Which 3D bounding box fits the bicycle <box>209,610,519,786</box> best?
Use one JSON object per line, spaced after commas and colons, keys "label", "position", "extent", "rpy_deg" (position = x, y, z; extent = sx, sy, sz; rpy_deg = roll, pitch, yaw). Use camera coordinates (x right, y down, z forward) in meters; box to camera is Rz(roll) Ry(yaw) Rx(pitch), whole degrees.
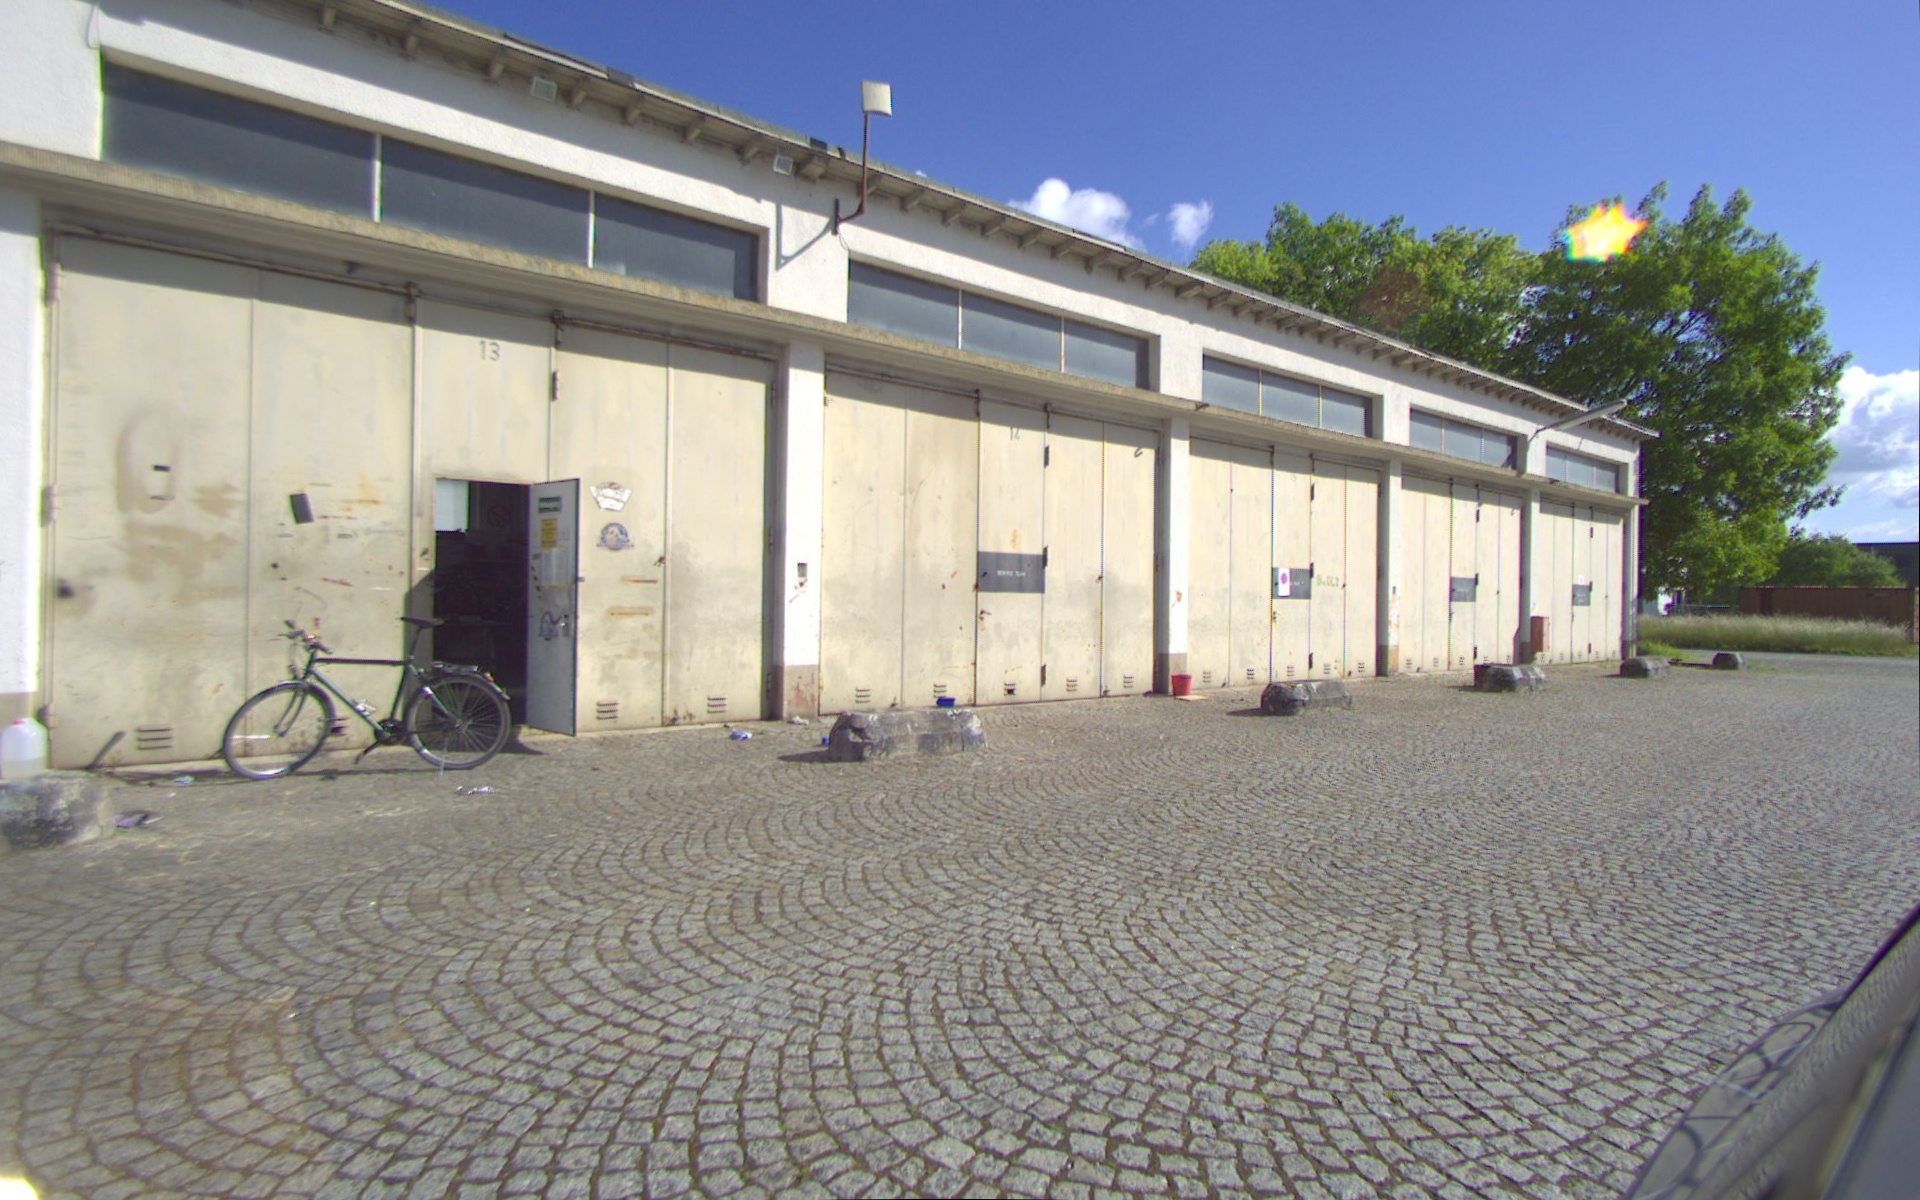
{"label": "bicycle", "position": [-4.061, 0.622, 7.047], "extent": [1.787, 1.081, 0.667], "rpy_deg": [0, 0, -27]}
